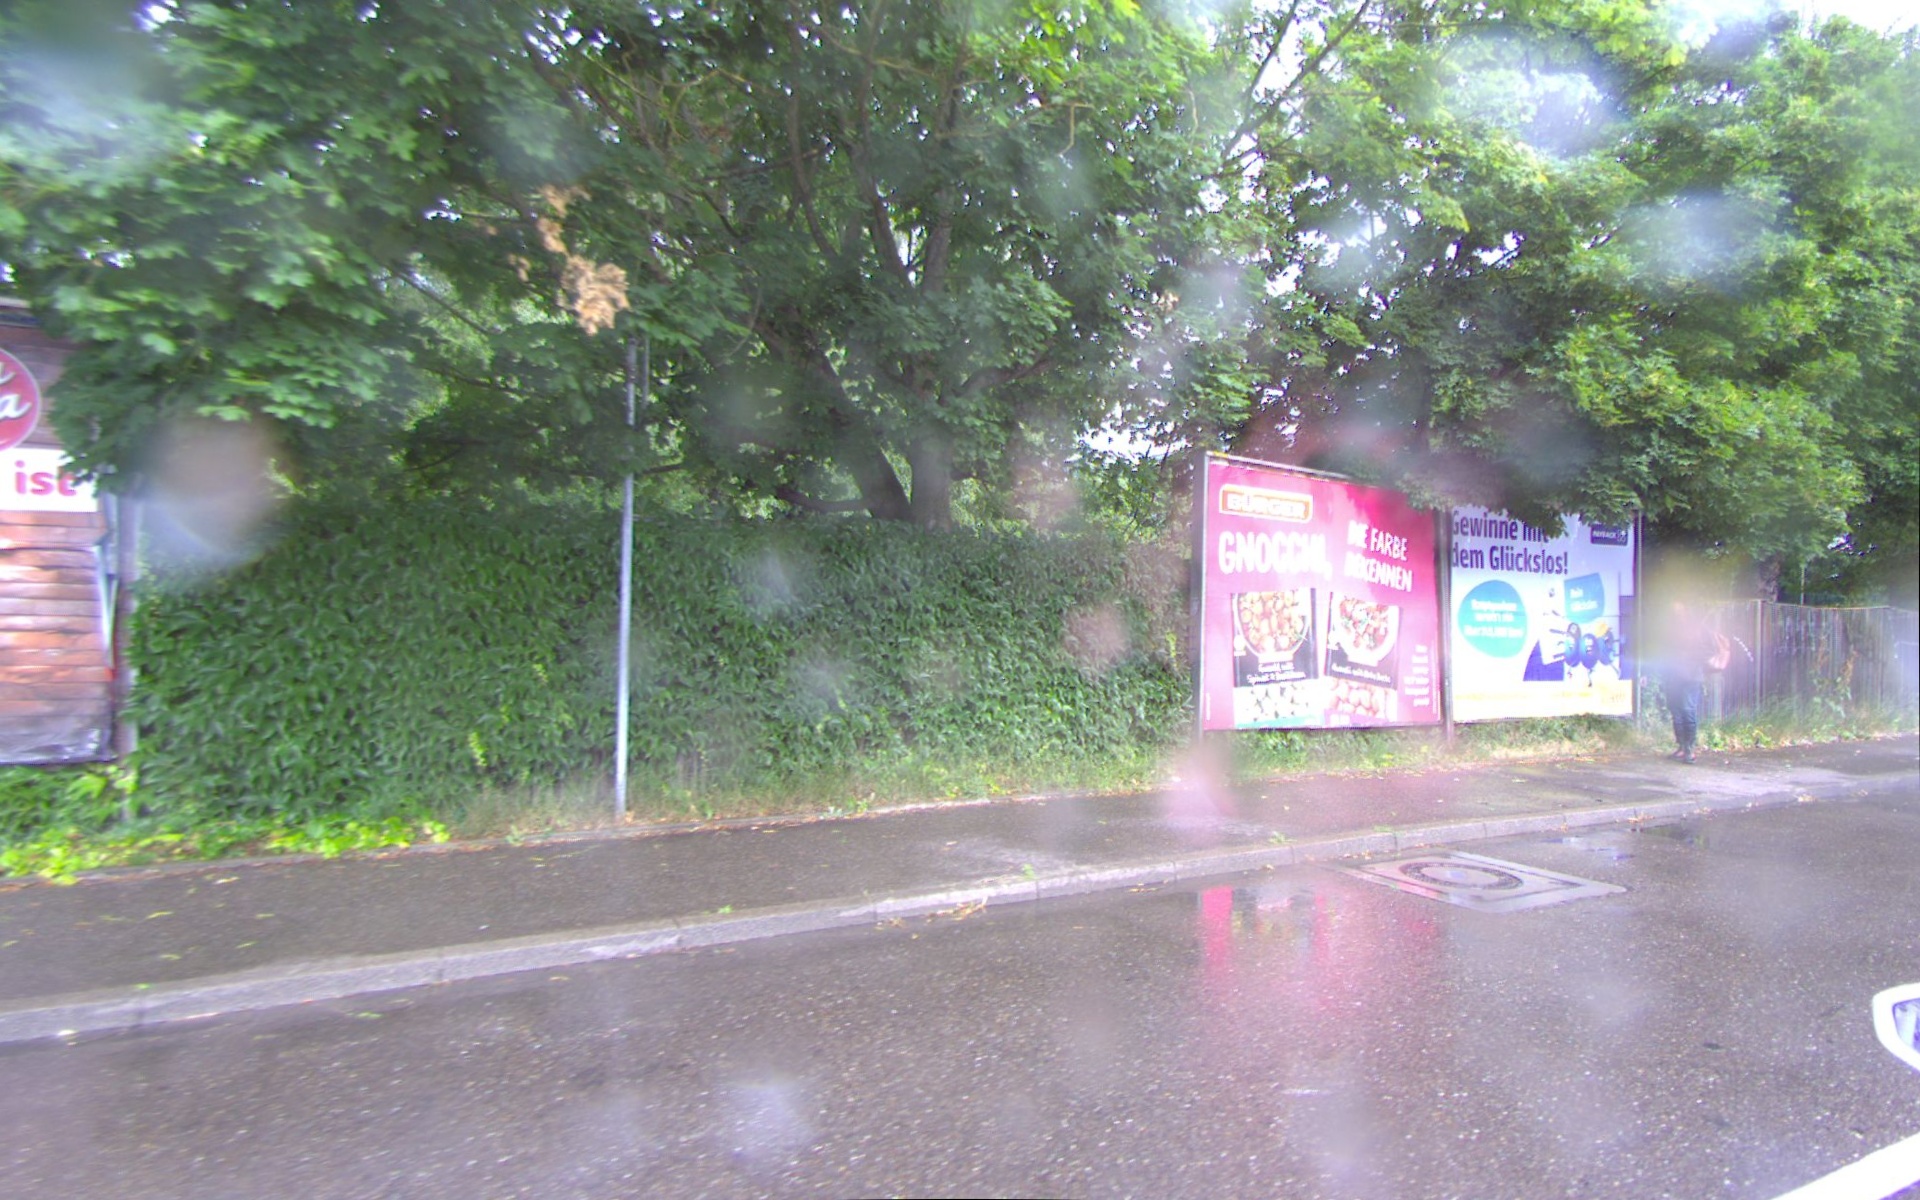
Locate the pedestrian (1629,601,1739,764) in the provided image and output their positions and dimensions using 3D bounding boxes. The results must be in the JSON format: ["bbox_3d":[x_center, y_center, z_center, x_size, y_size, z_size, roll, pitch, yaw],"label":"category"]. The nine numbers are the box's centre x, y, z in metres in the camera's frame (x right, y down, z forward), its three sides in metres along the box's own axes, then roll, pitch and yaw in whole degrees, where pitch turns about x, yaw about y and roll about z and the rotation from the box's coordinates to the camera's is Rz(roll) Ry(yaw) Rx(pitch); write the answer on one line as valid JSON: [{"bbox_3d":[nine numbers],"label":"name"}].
[{"bbox_3d":[8.335,0.922,11.579,0.636,1.792,0.836,2,-2,-28],"label":"pedestrian"}]
